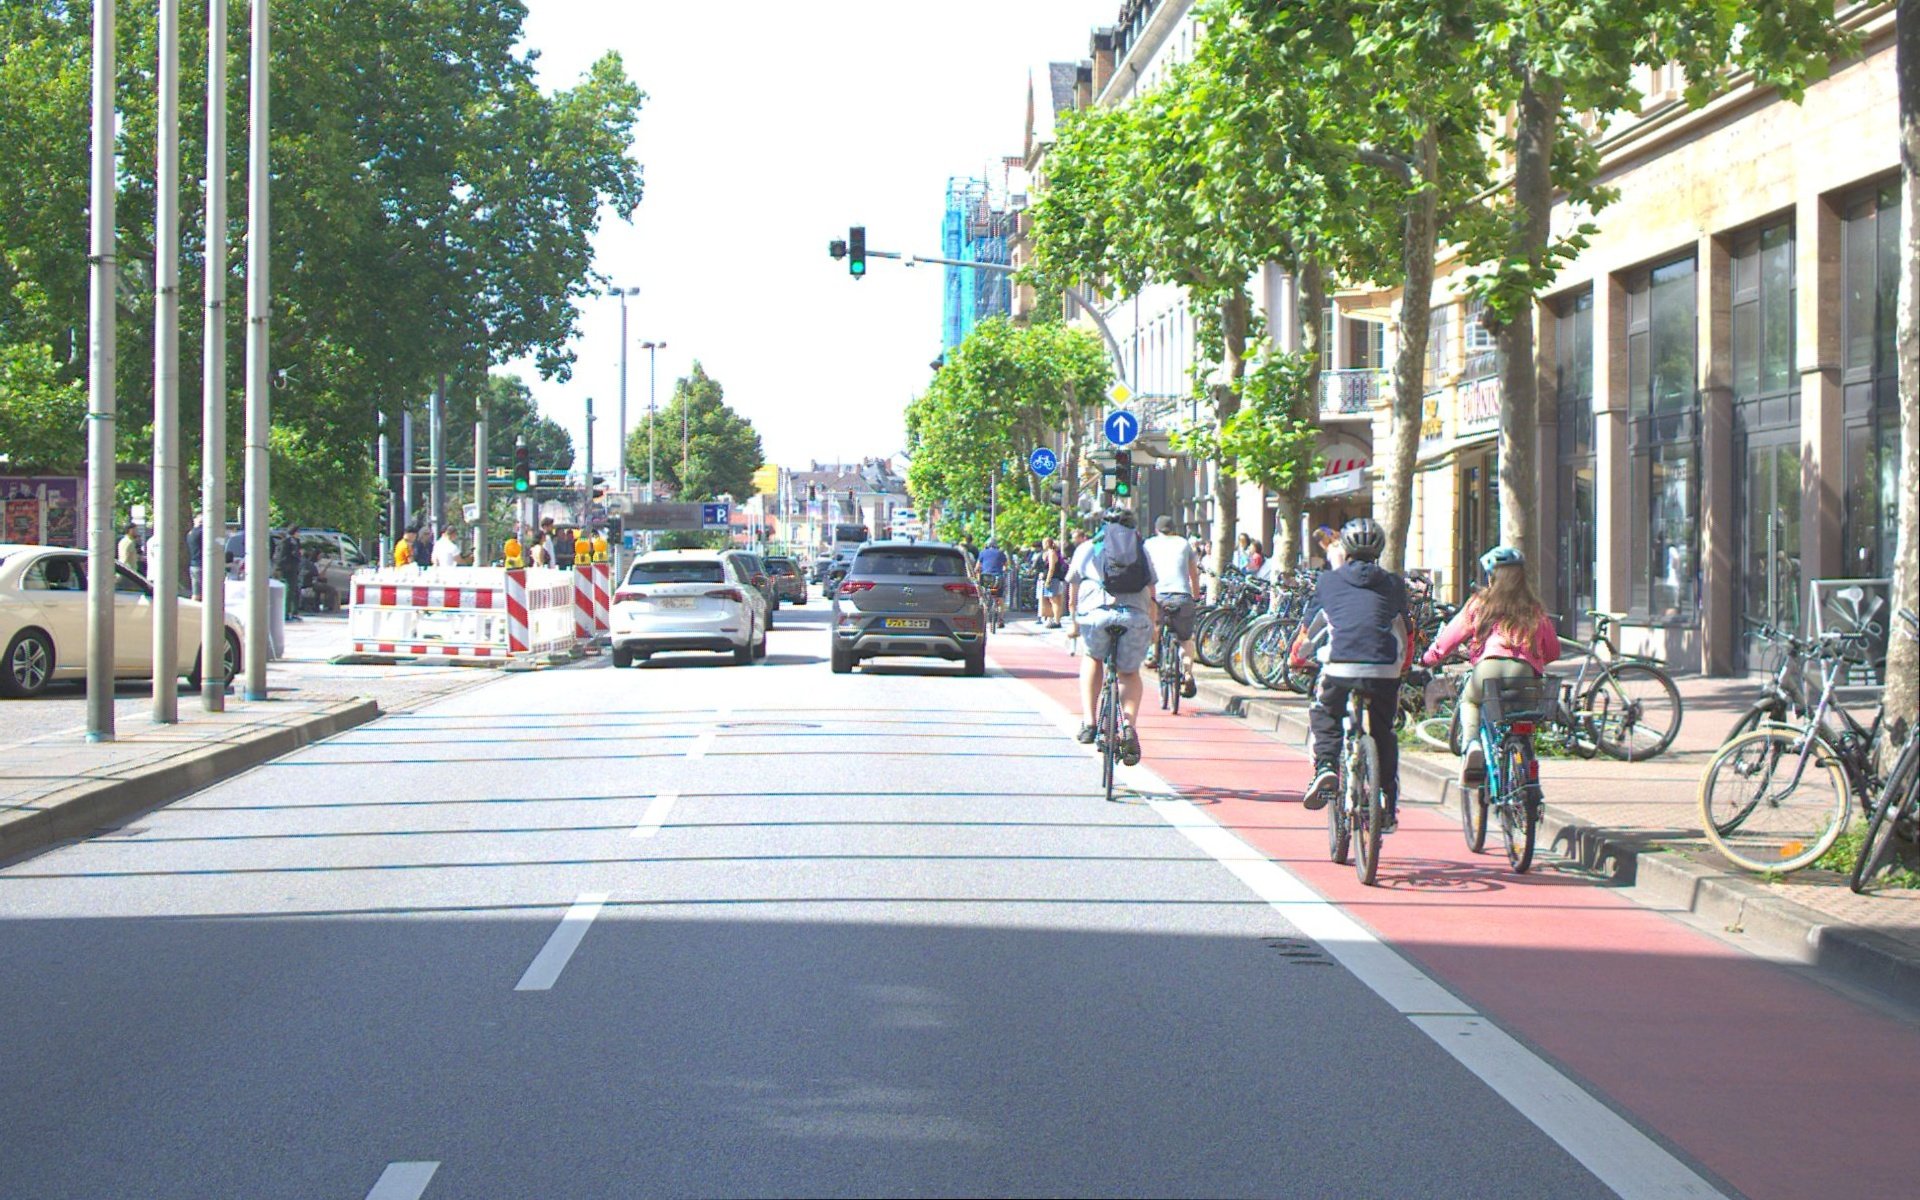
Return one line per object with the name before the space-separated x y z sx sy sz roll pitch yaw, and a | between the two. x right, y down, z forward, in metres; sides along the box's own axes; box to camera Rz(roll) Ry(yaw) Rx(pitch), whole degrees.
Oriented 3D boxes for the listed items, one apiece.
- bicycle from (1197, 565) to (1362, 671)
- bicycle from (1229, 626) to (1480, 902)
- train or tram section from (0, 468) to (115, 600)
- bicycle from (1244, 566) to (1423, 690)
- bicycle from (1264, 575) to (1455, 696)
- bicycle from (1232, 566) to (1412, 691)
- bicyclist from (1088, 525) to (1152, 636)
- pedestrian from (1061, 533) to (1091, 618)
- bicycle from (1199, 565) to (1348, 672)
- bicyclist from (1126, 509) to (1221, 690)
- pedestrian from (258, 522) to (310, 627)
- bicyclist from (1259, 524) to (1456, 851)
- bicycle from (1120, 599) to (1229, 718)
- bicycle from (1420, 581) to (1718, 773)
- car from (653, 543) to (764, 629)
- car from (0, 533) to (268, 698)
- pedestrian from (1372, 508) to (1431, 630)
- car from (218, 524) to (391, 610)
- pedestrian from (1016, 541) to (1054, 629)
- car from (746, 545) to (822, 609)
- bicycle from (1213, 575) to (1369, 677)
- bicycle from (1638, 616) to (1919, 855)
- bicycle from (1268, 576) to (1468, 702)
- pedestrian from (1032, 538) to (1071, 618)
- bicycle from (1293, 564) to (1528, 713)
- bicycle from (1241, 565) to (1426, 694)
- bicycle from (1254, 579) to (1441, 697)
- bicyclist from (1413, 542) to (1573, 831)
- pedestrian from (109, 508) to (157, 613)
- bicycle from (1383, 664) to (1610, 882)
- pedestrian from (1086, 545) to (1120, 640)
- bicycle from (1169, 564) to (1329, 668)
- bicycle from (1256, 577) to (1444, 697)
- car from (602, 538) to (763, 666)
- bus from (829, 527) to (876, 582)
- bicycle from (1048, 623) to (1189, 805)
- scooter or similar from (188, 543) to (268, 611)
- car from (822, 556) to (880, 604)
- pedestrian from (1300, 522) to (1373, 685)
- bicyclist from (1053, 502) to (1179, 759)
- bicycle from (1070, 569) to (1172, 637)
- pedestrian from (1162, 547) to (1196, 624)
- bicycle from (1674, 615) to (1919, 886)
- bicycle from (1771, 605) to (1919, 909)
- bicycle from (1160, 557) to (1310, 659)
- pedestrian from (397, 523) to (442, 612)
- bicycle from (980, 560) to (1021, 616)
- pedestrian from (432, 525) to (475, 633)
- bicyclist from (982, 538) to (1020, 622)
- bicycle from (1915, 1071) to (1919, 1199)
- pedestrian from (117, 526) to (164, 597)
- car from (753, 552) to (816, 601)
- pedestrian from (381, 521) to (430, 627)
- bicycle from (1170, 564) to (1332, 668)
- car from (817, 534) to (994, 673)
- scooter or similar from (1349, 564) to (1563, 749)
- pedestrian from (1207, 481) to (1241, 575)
bicycle | 3.695 0.203 39.797 1.844 1.197 0.474 1 1 1
bicycle | 1.783 0.718 15.864 0.698 1.123 2.082 2 1 -5
train or tram section | -29.784 -1.854 93.539 2.618 3.664 15.518 1 1 33
bicycle | 3.759 0.279 34.652 1.728 1.213 0.477 1 1 1
bicycle | 3.738 0.329 32.241 1.728 1.105 0.402 1 1 1
bicycle | 3.590 0.280 34.157 1.728 1.213 0.477 1 1 1
bicyclist | 2.613 -0.319 56.181 0.573 1.791 0.857 -2 1 -36
pedestrian | 2.085 -0.445 61.739 0.522 1.516 0.641 -1 0 1
bicycle | 3.581 0.205 39.380 1.649 1.197 0.474 1 1 1
bicyclist | 1.940 -0.011 31.322 0.774 1.629 0.851 0 1 -2
pedestrian | -12.059 -0.455 61.312 0.633 1.852 0.686 1 0 19
bicyclist | 1.807 0.387 15.706 0.698 1.436 0.791 2 1 -5
bicycle | 1.941 0.512 31.348 0.774 1.002 2.330 0 1 -2
bicycle | 4.025 0.501 22.813 1.840 1.182 0.670 2 1 3
car | -4.425 -0.273 60.953 1.845 1.444 4.001 0 1 -3
car | -9.124 0.118 34.045 1.894 1.536 4.855 2 1 25
pedestrian | 6.566 -0.452 51.180 0.657 1.784 1.233 1 -1 -2
car | -15.369 -0.765 80.836 1.861 1.948 4.756 1 0 19
pedestrian | 1.528 -0.306 69.868 0.610 1.733 0.678 -4 0 -4
car | -4.424 -0.593 86.592 1.845 1.554 4.001 1 1 -3
bicycle | 3.639 0.283 37.859 1.649 1.091 0.607 1 1 1
bicycle | 4.289 0.653 16.710 1.840 1.093 0.794 1 1 3
bicycle | 3.716 0.350 31.387 1.728 1.105 0.736 1 1 1
pedestrian | 1.787 -0.436 67.010 0.610 1.510 0.678 -4 0 -4
bicycle | 3.903 0.328 29.910 1.931 1.244 0.736 1 1 1
bicycle | 3.623 0.280 33.432 1.728 1.213 0.477 1 1 1
bicycle | 3.718 0.361 33.074 1.728 1.105 0.477 1 1 1
bicyclist | 2.547 0.401 16.481 0.600 1.353 0.721 0 0 -5
pedestrian | -13.718 -0.652 57.031 0.584 1.716 0.789 1 0 0
bicycle | 2.541 0.797 16.487 0.600 0.922 2.088 0 0 -5
pedestrian | 2.466 -0.136 59.245 0.549 1.625 0.589 -1 0 1
bicycle | 3.448 0.185 41.103 1.844 1.197 0.608 1 1 1
bicycle | 3.698 0.351 32.654 1.728 1.105 0.402 1 1 1
car | -3.518 -0.015 44.159 1.845 1.554 4.000 0 1 -2
bus | -7.318 -3.022 233.276 2.994 3.582 11.746 1 0 -3
bicycle | 0.917 0.644 20.296 0.630 0.976 2.089 0 1 -3
scooter or similar | -15.365 -0.479 72.192 1.278 1.416 1.037 1 0 29
car | -4.047 -0.760 127.197 1.845 1.662 4.001 2 1 -5
pedestrian | 3.752 0.030 34.320 0.615 1.607 0.745 1 1 -1
bicyclist | 0.914 0.168 20.361 0.630 1.476 1.198 0 1 -3
bicycle | 2.624 0.050 56.192 0.600 1.078 1.839 -2 1 -36
pedestrian | 4.685 -0.306 73.551 0.610 1.613 0.678 1 2 -4
bicycle | 4.093 0.663 15.049 1.841 1.123 0.497 2 0 9
bicycle | 4.297 0.640 13.987 1.840 1.193 0.673 1 1 5
bicycle | 3.596 0.100 44.923 1.820 1.304 0.689 1 1 -22
pedestrian | -10.975 -0.663 69.822 0.633 1.804 0.730 1 0 19
bicycle | 0.741 -0.229 63.822 0.647 0.994 2.031 0 1 -2
pedestrian | -8.241 -0.350 55.948 0.429 1.734 0.606 2 0 -33
bicyclist | 0.763 -0.376 63.854 0.647 1.545 0.817 1 1 -2
bicycle | 2.581 0.911 6.629 0.698 1.123 2.082 2 1 -5
pedestrian | -17.090 -0.803 71.711 0.633 1.473 0.730 1 0 19
car | -5.313 -0.728 104.290 1.845 1.409 4.001 1 1 -3
pedestrian | -9.067 -0.423 56.221 0.539 1.712 0.606 2 0 -33
bicycle | 3.429 0.185 40.596 1.844 1.197 0.545 1 1 1
car | -0.692 -0.002 40.671 1.845 1.554 4.001 0 1 -4
scooter or similar | 3.608 0.399 24.988 1.475 1.270 0.670 2 1 9
pedestrian | 4.652 -1.270 60.647 0.549 1.634 0.589 -1 0 1
